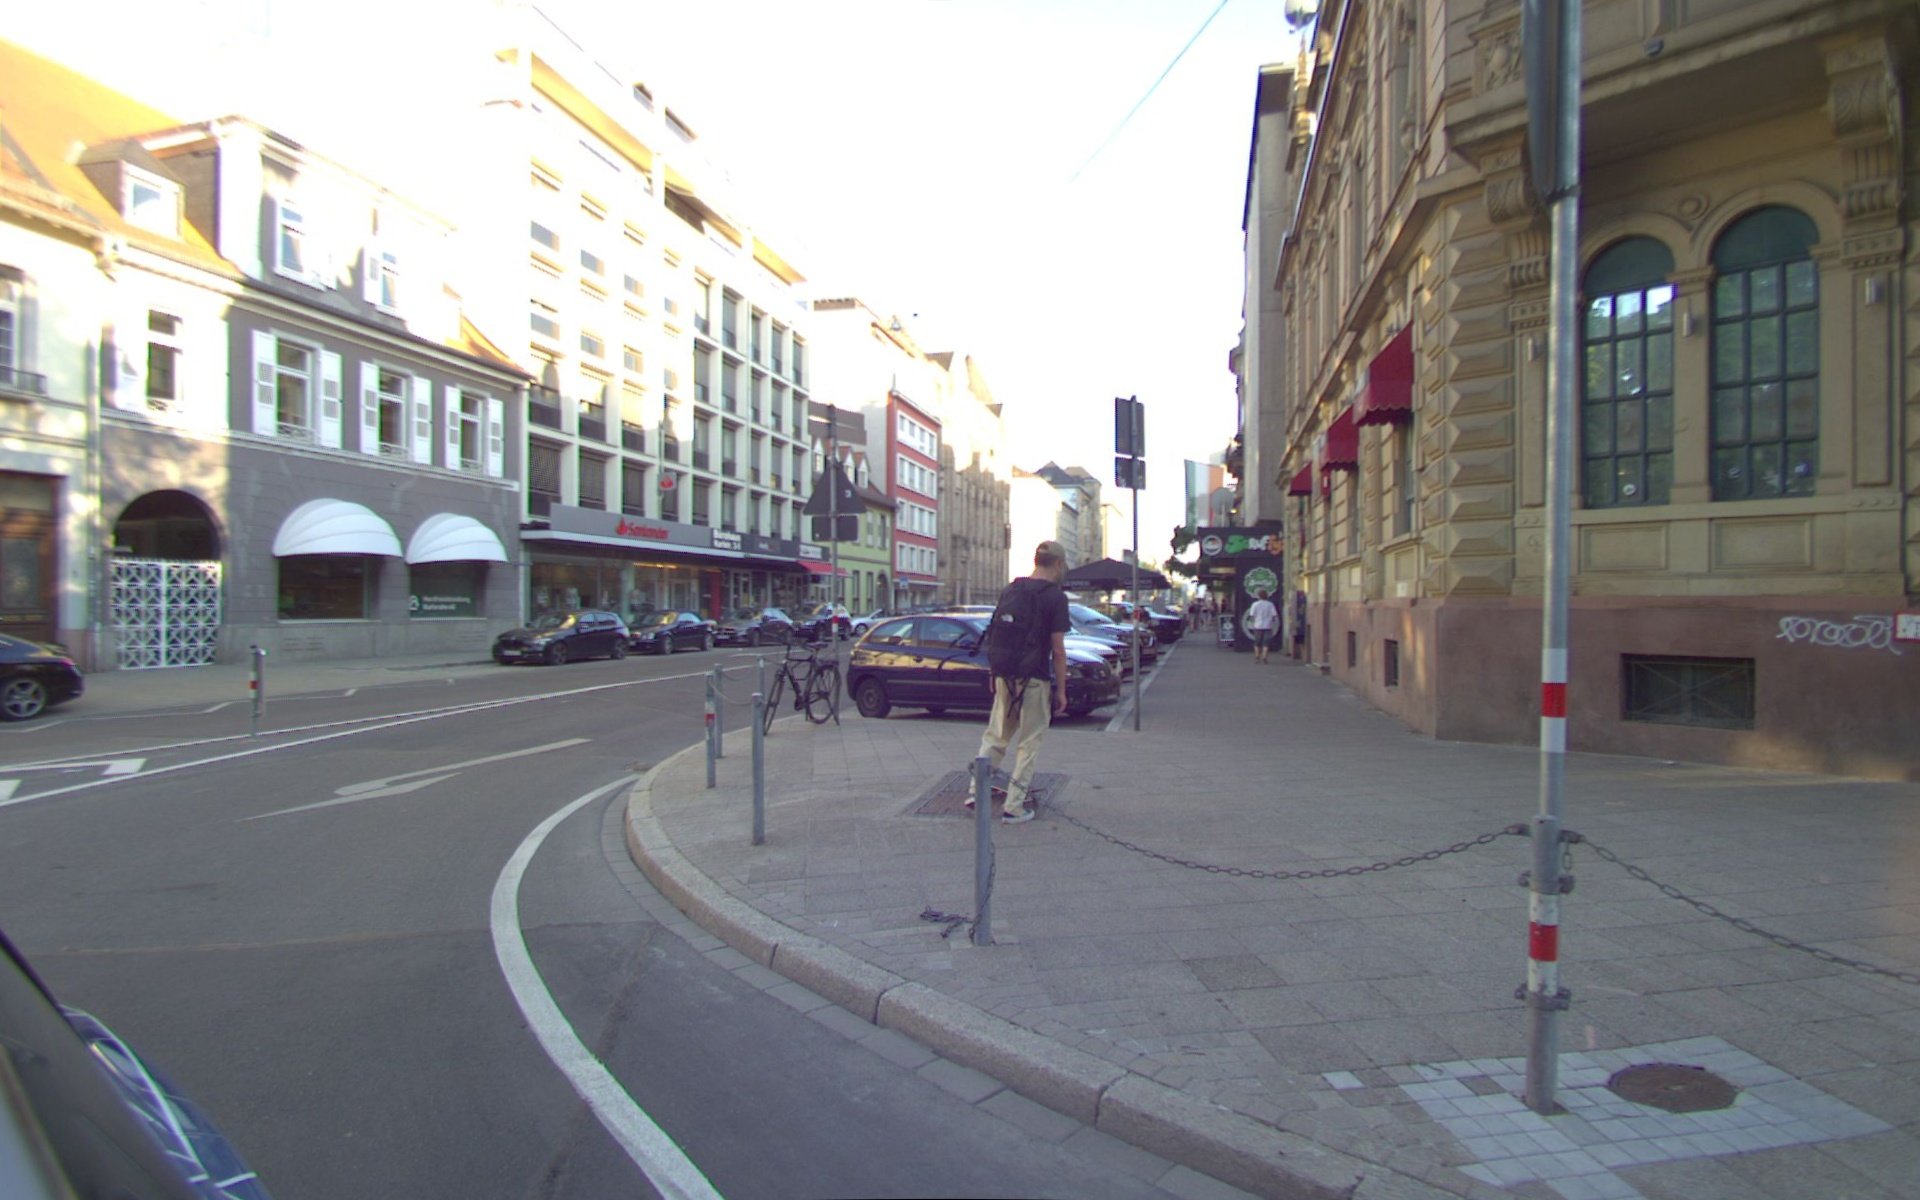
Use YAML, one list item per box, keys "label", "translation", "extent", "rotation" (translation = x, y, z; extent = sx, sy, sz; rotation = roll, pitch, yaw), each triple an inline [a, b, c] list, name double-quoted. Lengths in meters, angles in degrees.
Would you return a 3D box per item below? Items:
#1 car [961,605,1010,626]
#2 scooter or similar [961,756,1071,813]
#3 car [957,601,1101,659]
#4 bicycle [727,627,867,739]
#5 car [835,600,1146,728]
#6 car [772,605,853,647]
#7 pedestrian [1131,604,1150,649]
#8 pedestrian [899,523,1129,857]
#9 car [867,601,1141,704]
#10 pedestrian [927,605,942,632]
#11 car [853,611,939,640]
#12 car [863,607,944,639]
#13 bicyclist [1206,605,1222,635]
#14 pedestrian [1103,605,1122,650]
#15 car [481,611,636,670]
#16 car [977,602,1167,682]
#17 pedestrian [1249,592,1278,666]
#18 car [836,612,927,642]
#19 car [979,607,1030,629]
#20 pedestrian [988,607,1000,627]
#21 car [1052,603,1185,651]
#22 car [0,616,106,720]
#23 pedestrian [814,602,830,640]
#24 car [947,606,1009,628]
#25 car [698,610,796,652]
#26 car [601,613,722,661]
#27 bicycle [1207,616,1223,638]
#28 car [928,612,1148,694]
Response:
- label: "car"
  translation: [2.312, 1.422, 92.032]
  extent: [4.159, 1.896, 1.758]
  rotation: [0, -1, -10]
- label: "scooter or similar"
  translation: [0.362, 1.243, 6.890]
  extent: [0.411, 0.208, 0.885]
  rotation: [-1, 0, -21]
- label: "car"
  translation: [2.077, 0.922, 30.943]
  extent: [4.043, 1.641, 1.831]
  rotation: [-2, -1, 35]
- label: "bicycle"
  translation: [-1.825, 0.917, 11.622]
  extent: [0.723, 1.134, 1.790]
  rotation: [-3, -2, 22]
- label: "car"
  translation: [0.323, 0.849, 13.535]
  extent: [3.858, 1.472, 1.718]
  rotation: [-4, -3, 38]
- label: "car"
  translation: [-6.159, 1.081, 42.766]
  extent: [1.817, 1.671, 4.340]
  rotation: [0, -1, 16]
- label: "pedestrian"
  translation: [5.815, 0.850, 32.589]
  extent: [0.571, 1.427, 0.672]
  rotation: [0, -1, 14]
- label: "pedestrian"
  translation: [0.358, 0.468, 6.072]
  extent: [0.848, 1.752, 1.253]
  rotation: [-1, 0, 32]
- label: "car"
  translation: [0.627, 0.865, 17.286]
  extent: [4.628, 1.523, 1.744]
  rotation: [-3, -2, 42]
- label: "pedestrian"
  translation: [-1.847, 1.325, 73.809]
  extent: [0.844, 1.958, 1.006]
  rotation: [0, -1, 19]
- label: "car"
  translation: [-3.340, 1.326, 52.933]
  extent: [4.155, 1.450, 1.760]
  rotation: [0, -1, -20]
- label: "car"
  translation: [-3.106, 1.254, 55.621]
  extent: [4.155, 1.689, 1.760]
  rotation: [0, -1, -20]
- label: "bicyclist"
  translation: [13.855, 1.094, 55.236]
  extent: [0.760, 1.571, 0.809]
  rotation: [-1, -4, 13]
- label: "pedestrian"
  translation: [4.958, 0.895, 32.941]
  extent: [0.571, 1.427, 0.672]
  rotation: [0, -1, 14]
- label: "car"
  translation: [-10.580, 1.014, 27.022]
  extent: [1.731, 1.458, 4.230]
  rotation: [0, -1, 14]
- label: "car"
  translation: [2.509, 0.906, 23.180]
  extent: [4.047, 1.669, 1.769]
  rotation: [0, -1, 40]
- label: "pedestrian"
  translation: [6.846, 0.653, 22.862]
  extent: [0.573, 1.621, 0.519]
  rotation: [-2, -1, 15]
- label: "car"
  translation: [-3.883, 1.308, 50.145]
  extent: [4.155, 1.450, 1.760]
  rotation: [0, -1, -25]
- label: "car"
  translation: [3.604, 1.481, 81.893]
  extent: [3.775, 1.766, 1.758]
  rotation: [0, -1, -10]
- label: "pedestrian"
  translation: [3.079, 1.523, 92.208]
  extent: [0.844, 1.813, 1.006]
  rotation: [0, -1, 19]
- label: "car"
  translation: [6.052, 1.001, 39.070]
  extent: [4.840, 1.746, 1.882]
  rotation: [-1, -1, 41]
- label: "car"
  translation: [-14.095, 0.925, 12.867]
  extent: [1.762, 1.405, 4.833]
  rotation: [-1, -1, 15]
- label: "pedestrian"
  translation: [-6.989, 1.063, 51.195]
  extent: [0.606, 1.901, 0.716]
  rotation: [0, -1, 13]
- label: "car"
  translation: [1.290, 1.214, 72.582]
  extent: [4.156, 1.484, 1.759]
  rotation: [0, -1, -16]
- label: "car"
  translation: [-7.840, 1.110, 37.714]
  extent: [1.732, 1.457, 4.536]
  rotation: [0, -1, 15]
- label: "car"
  translation: [-9.373, 1.127, 32.179]
  extent: [1.730, 1.398, 4.483]
  rotation: [0, -1, 13]
- label: "bicycle"
  translation: [13.845, 1.468, 55.053]
  extent: [0.760, 1.123, 2.169]
  rotation: [-1, 0, 13]
- label: "car"
  translation: [1.501, 0.990, 20.397]
  extent: [4.248, 1.458, 1.688]
  rotation: [0, -1, 40]
